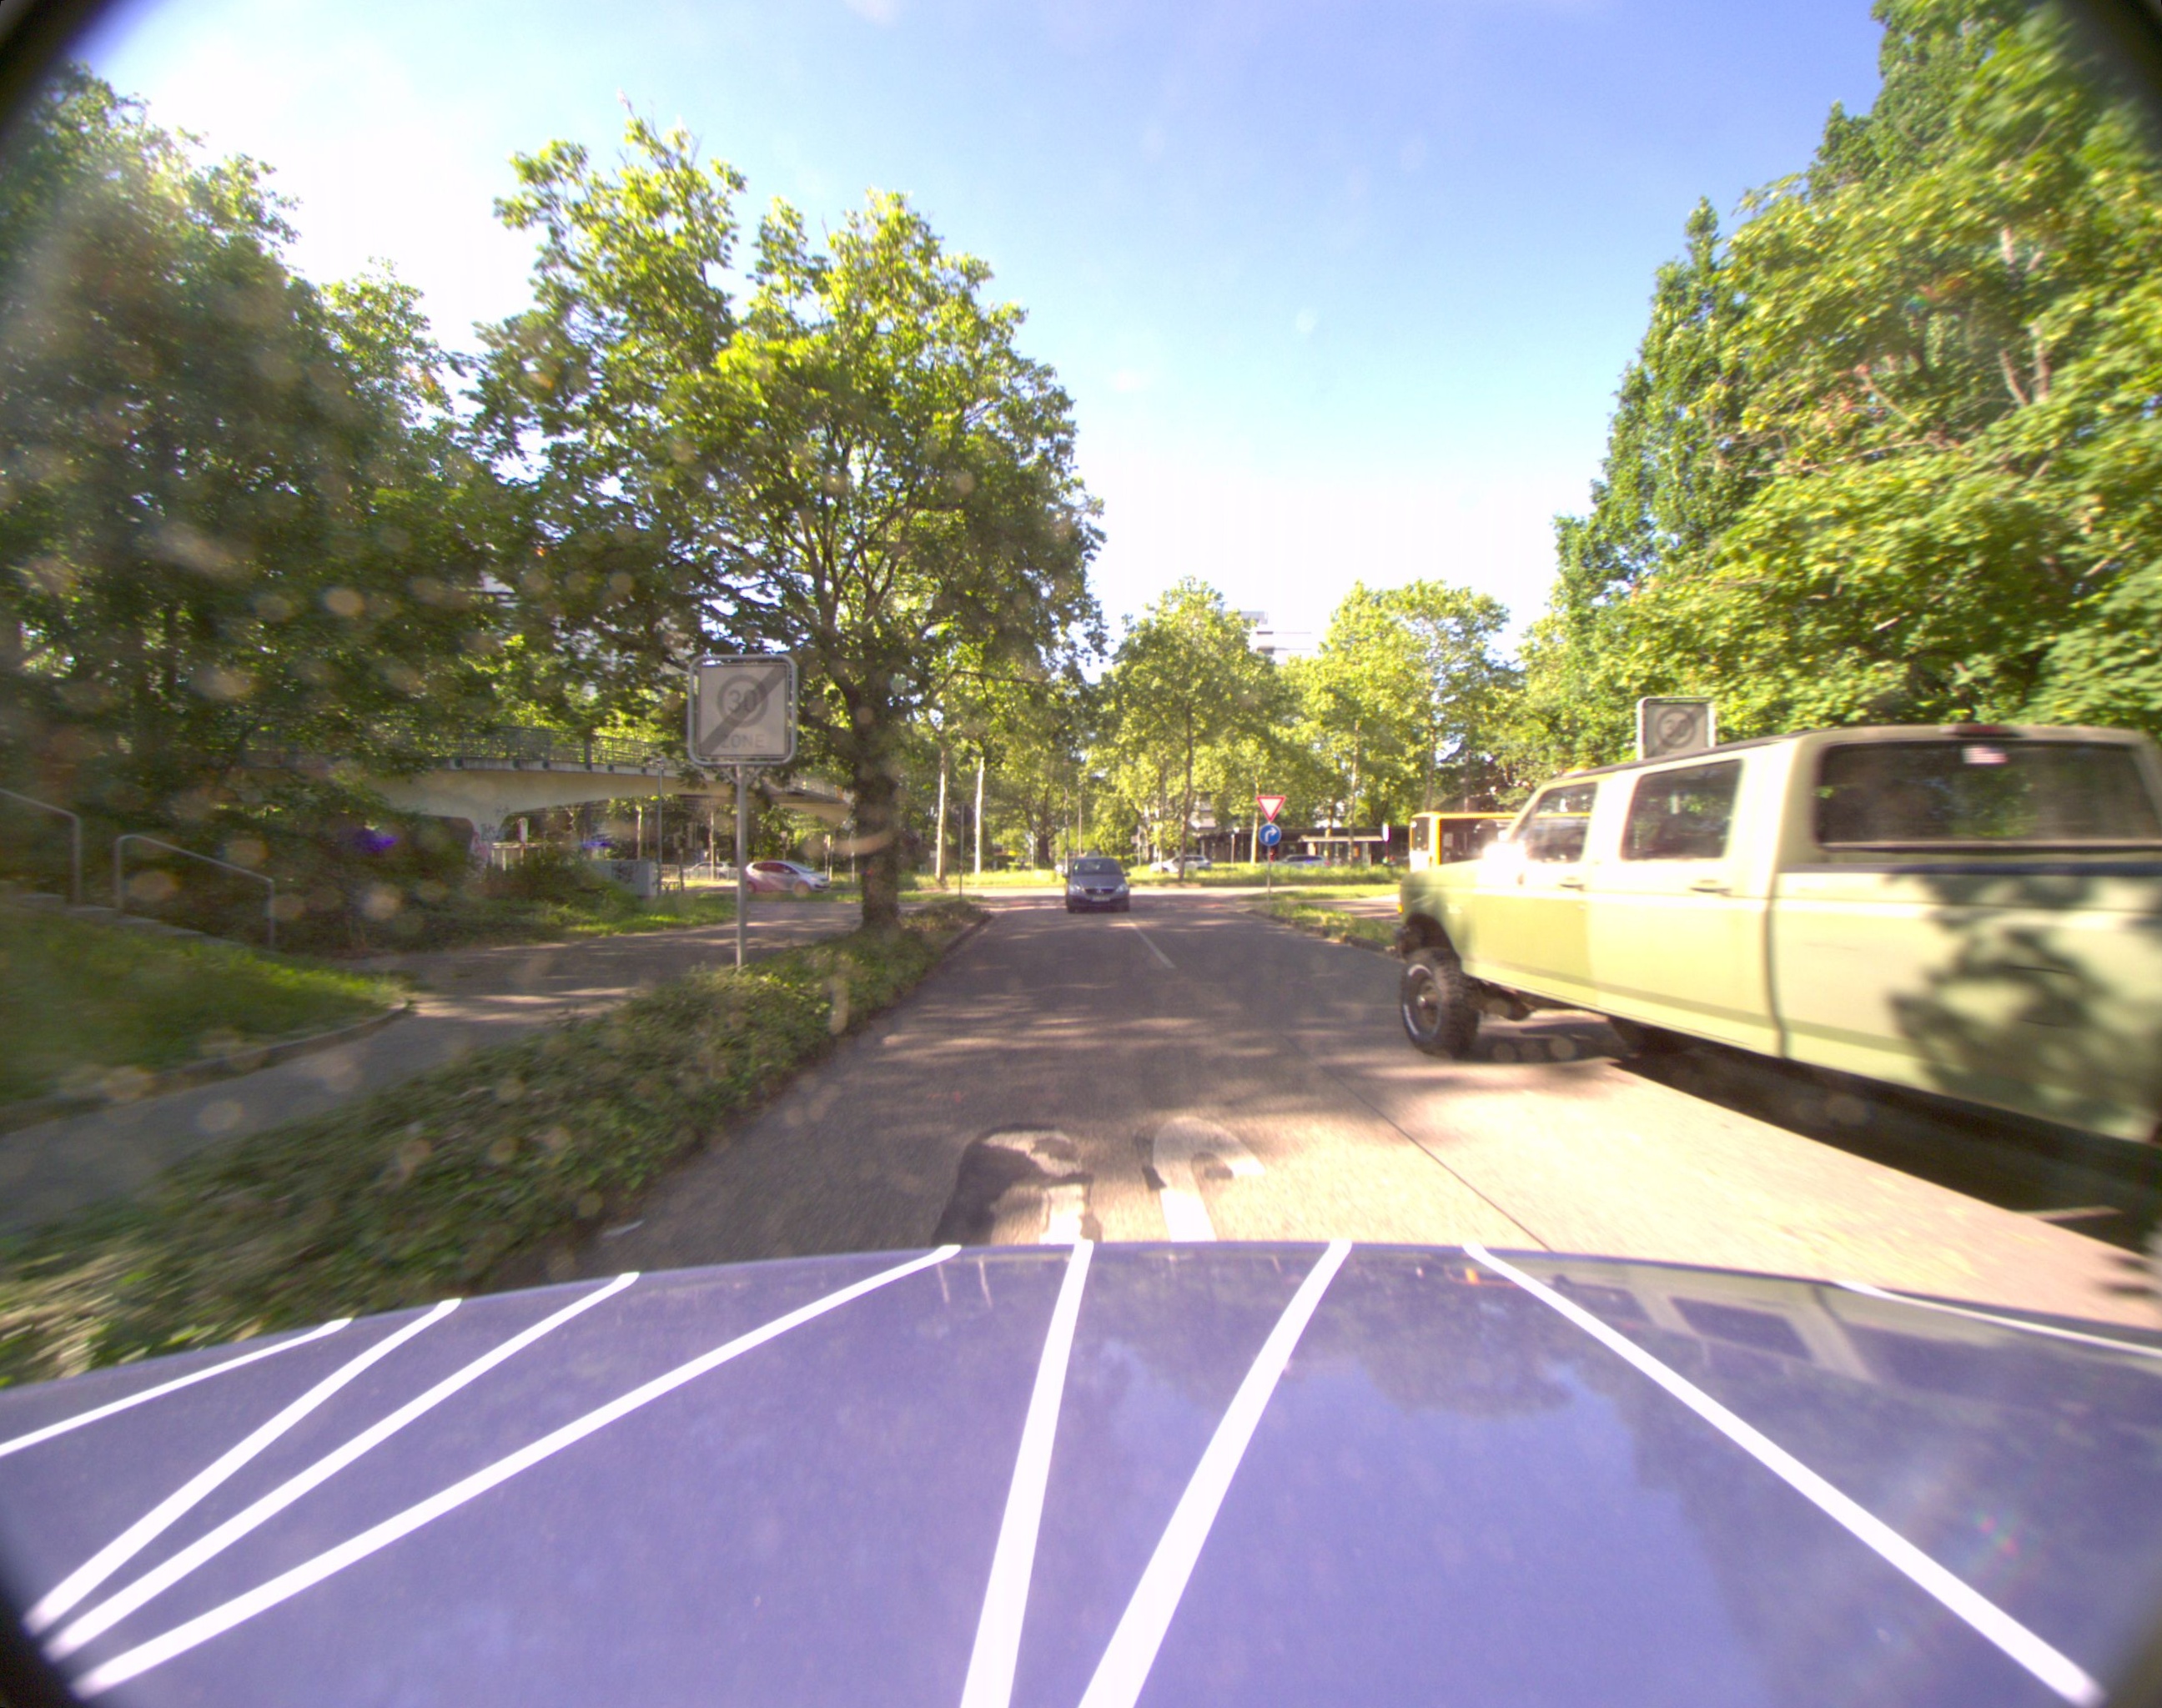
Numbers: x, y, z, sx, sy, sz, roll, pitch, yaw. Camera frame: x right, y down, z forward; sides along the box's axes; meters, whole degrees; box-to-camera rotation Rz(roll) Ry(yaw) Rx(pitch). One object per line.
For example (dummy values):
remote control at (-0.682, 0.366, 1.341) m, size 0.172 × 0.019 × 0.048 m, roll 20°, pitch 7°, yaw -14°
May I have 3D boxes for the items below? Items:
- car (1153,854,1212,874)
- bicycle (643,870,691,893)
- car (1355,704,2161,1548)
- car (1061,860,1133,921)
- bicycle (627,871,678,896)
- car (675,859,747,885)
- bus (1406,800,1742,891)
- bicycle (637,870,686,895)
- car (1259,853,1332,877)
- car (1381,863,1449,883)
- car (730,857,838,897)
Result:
car at (7.156, 0.720, 53.830) m, size 4.062 × 1.213 × 1.620 m, roll -2°, pitch 1°, yaw 4°
bicycle at (-17.179, 1.140, 31.537) m, size 1.718 × 0.907 × 0.459 m, roll -2°, pitch 1°, yaw 1°
car at (3.653, 0.659, 3.535) m, size 2.125 × 2.083 × 6.582 m, roll -1°, pitch 0°, yaw -2°
car at (0.372, 0.984, 22.418) m, size 1.735 × 1.578 × 3.998 m, roll -1°, pitch 0°, yaw -4°
bicycle at (-17.051, 1.158, 30.267) m, size 1.718 × 0.907 × 0.513 m, roll -2°, pitch 1°, yaw 1°
car at (-26.803, 1.299, 55.135) m, size 4.330 × 1.637 × 1.720 m, roll -2°, pitch 1°, yaw 3°
bus at (20.508, -0.332, 32.200) m, size 12.139 × 3.251 × 2.698 m, roll -2°, pitch 1°, yaw 4°
bicycle at (-17.069, 1.162, 30.901) m, size 1.718 × 0.907 × 0.459 m, roll -2°, pitch 1°, yaw 1°
car at (14.486, 0.740, 51.455) m, size 4.482 × 1.384 × 1.619 m, roll -2°, pitch 1°, yaw 2°
car at (23.414, 1.315, 53.375) m, size 4.062 × 1.213 × 1.620 m, roll -2°, pitch 1°, yaw 4°
car at (-13.821, 1.038, 35.483) m, size 4.330 × 1.637 × 1.720 m, roll -2°, pitch 1°, yaw 4°
